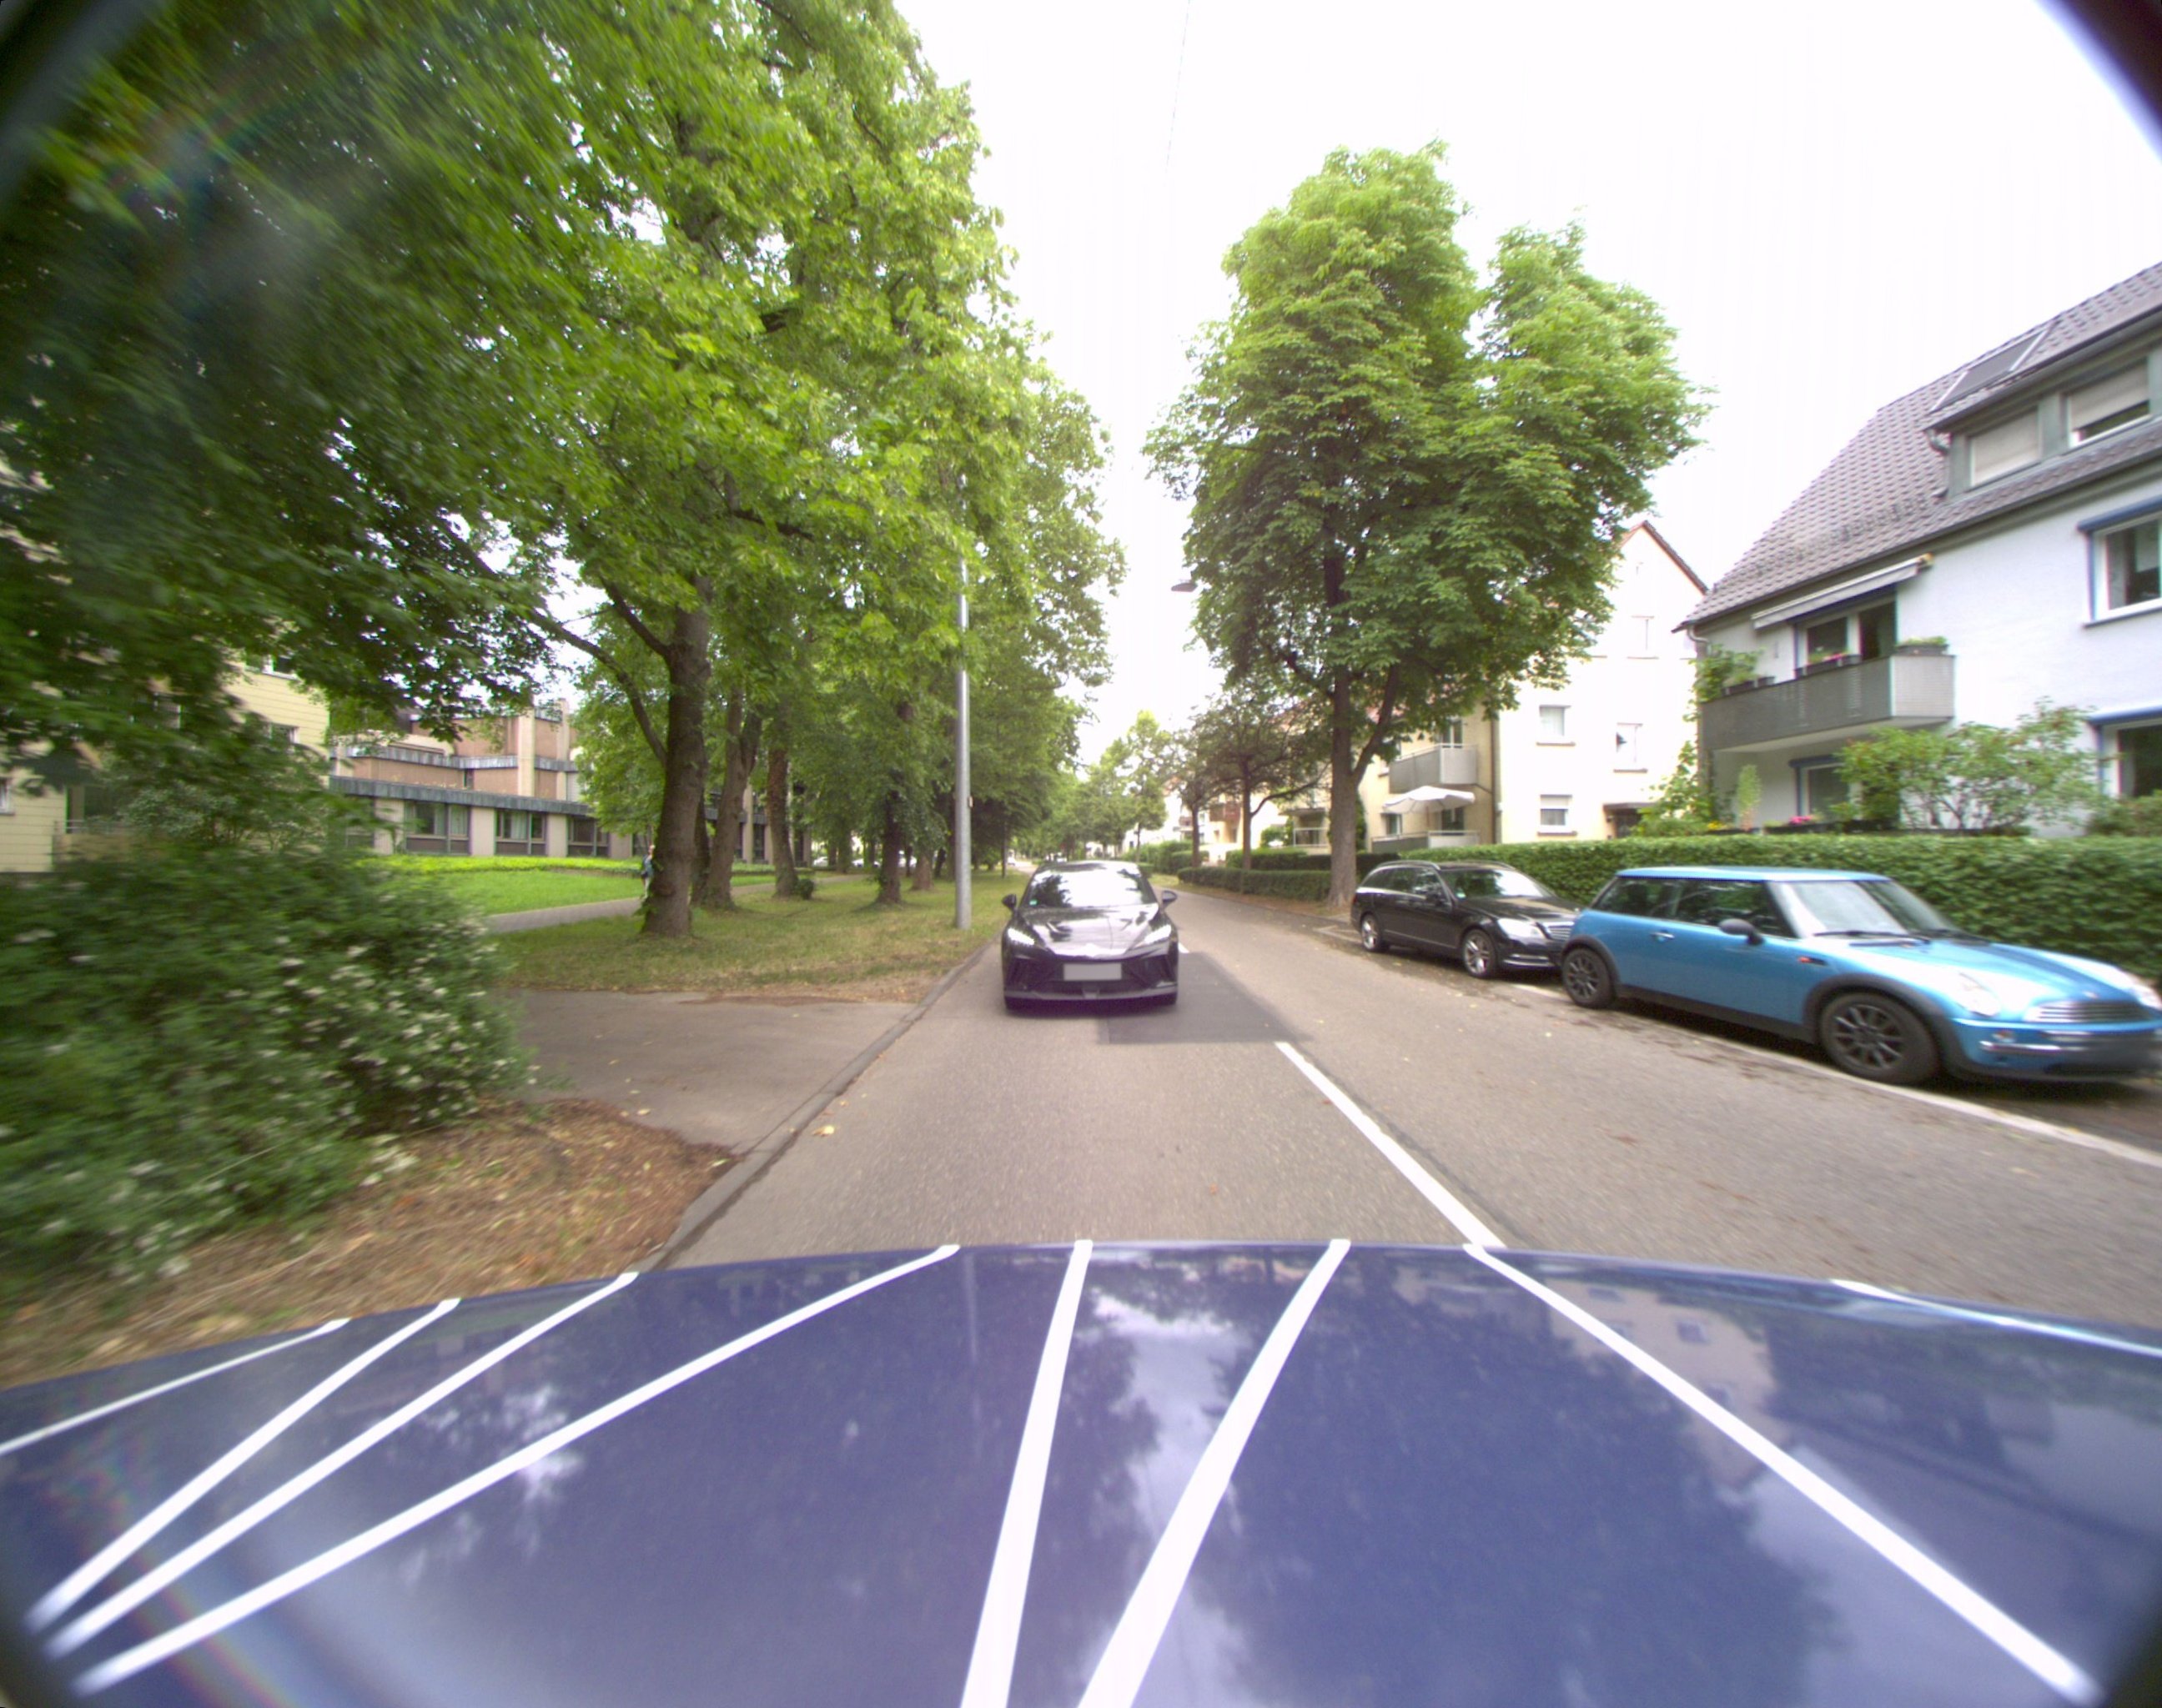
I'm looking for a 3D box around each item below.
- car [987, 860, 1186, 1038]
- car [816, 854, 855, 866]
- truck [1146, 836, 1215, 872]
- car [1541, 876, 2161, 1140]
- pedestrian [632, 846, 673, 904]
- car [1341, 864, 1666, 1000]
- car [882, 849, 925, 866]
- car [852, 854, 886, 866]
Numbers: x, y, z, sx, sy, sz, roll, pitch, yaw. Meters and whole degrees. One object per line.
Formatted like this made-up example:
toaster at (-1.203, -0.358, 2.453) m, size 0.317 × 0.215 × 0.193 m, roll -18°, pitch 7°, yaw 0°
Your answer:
car at (0.044, 0.892, 9.223) m, size 1.799 × 1.552 × 4.471 m, roll -1°, pitch 0°, yaw 0°
car at (-31.682, 0.759, 98.057) m, size 1.795 × 1.501 × 4.614 m, roll -1°, pitch -1°, yaw 39°
truck at (9.089, -0.002, 69.547) m, size 5.814 × 3.112 × 2.516 m, roll 0°, pitch 0°, yaw -7°
car at (5.838, 0.925, 6.186) m, size 1.669 × 1.383 × 3.704 m, roll 1°, pitch 0°, yaw -6°
pedestrian at (-12.690, 0.609, 22.512) m, size 0.770 × 1.676 × 0.814 m, roll 1°, pitch 0°, yaw -5°
car at (5.544, 0.907, 10.768) m, size 1.800 × 1.463 × 4.415 m, roll 1°, pitch 0°, yaw -6°
car at (-24.572, 0.444, 105.537) m, size 5.337 × 2.285 × 2.286 m, roll 0°, pitch -1°, yaw -39°
car at (-28.377, 0.795, 101.876) m, size 1.795 × 1.501 × 4.009 m, roll -1°, pitch -1°, yaw 44°
